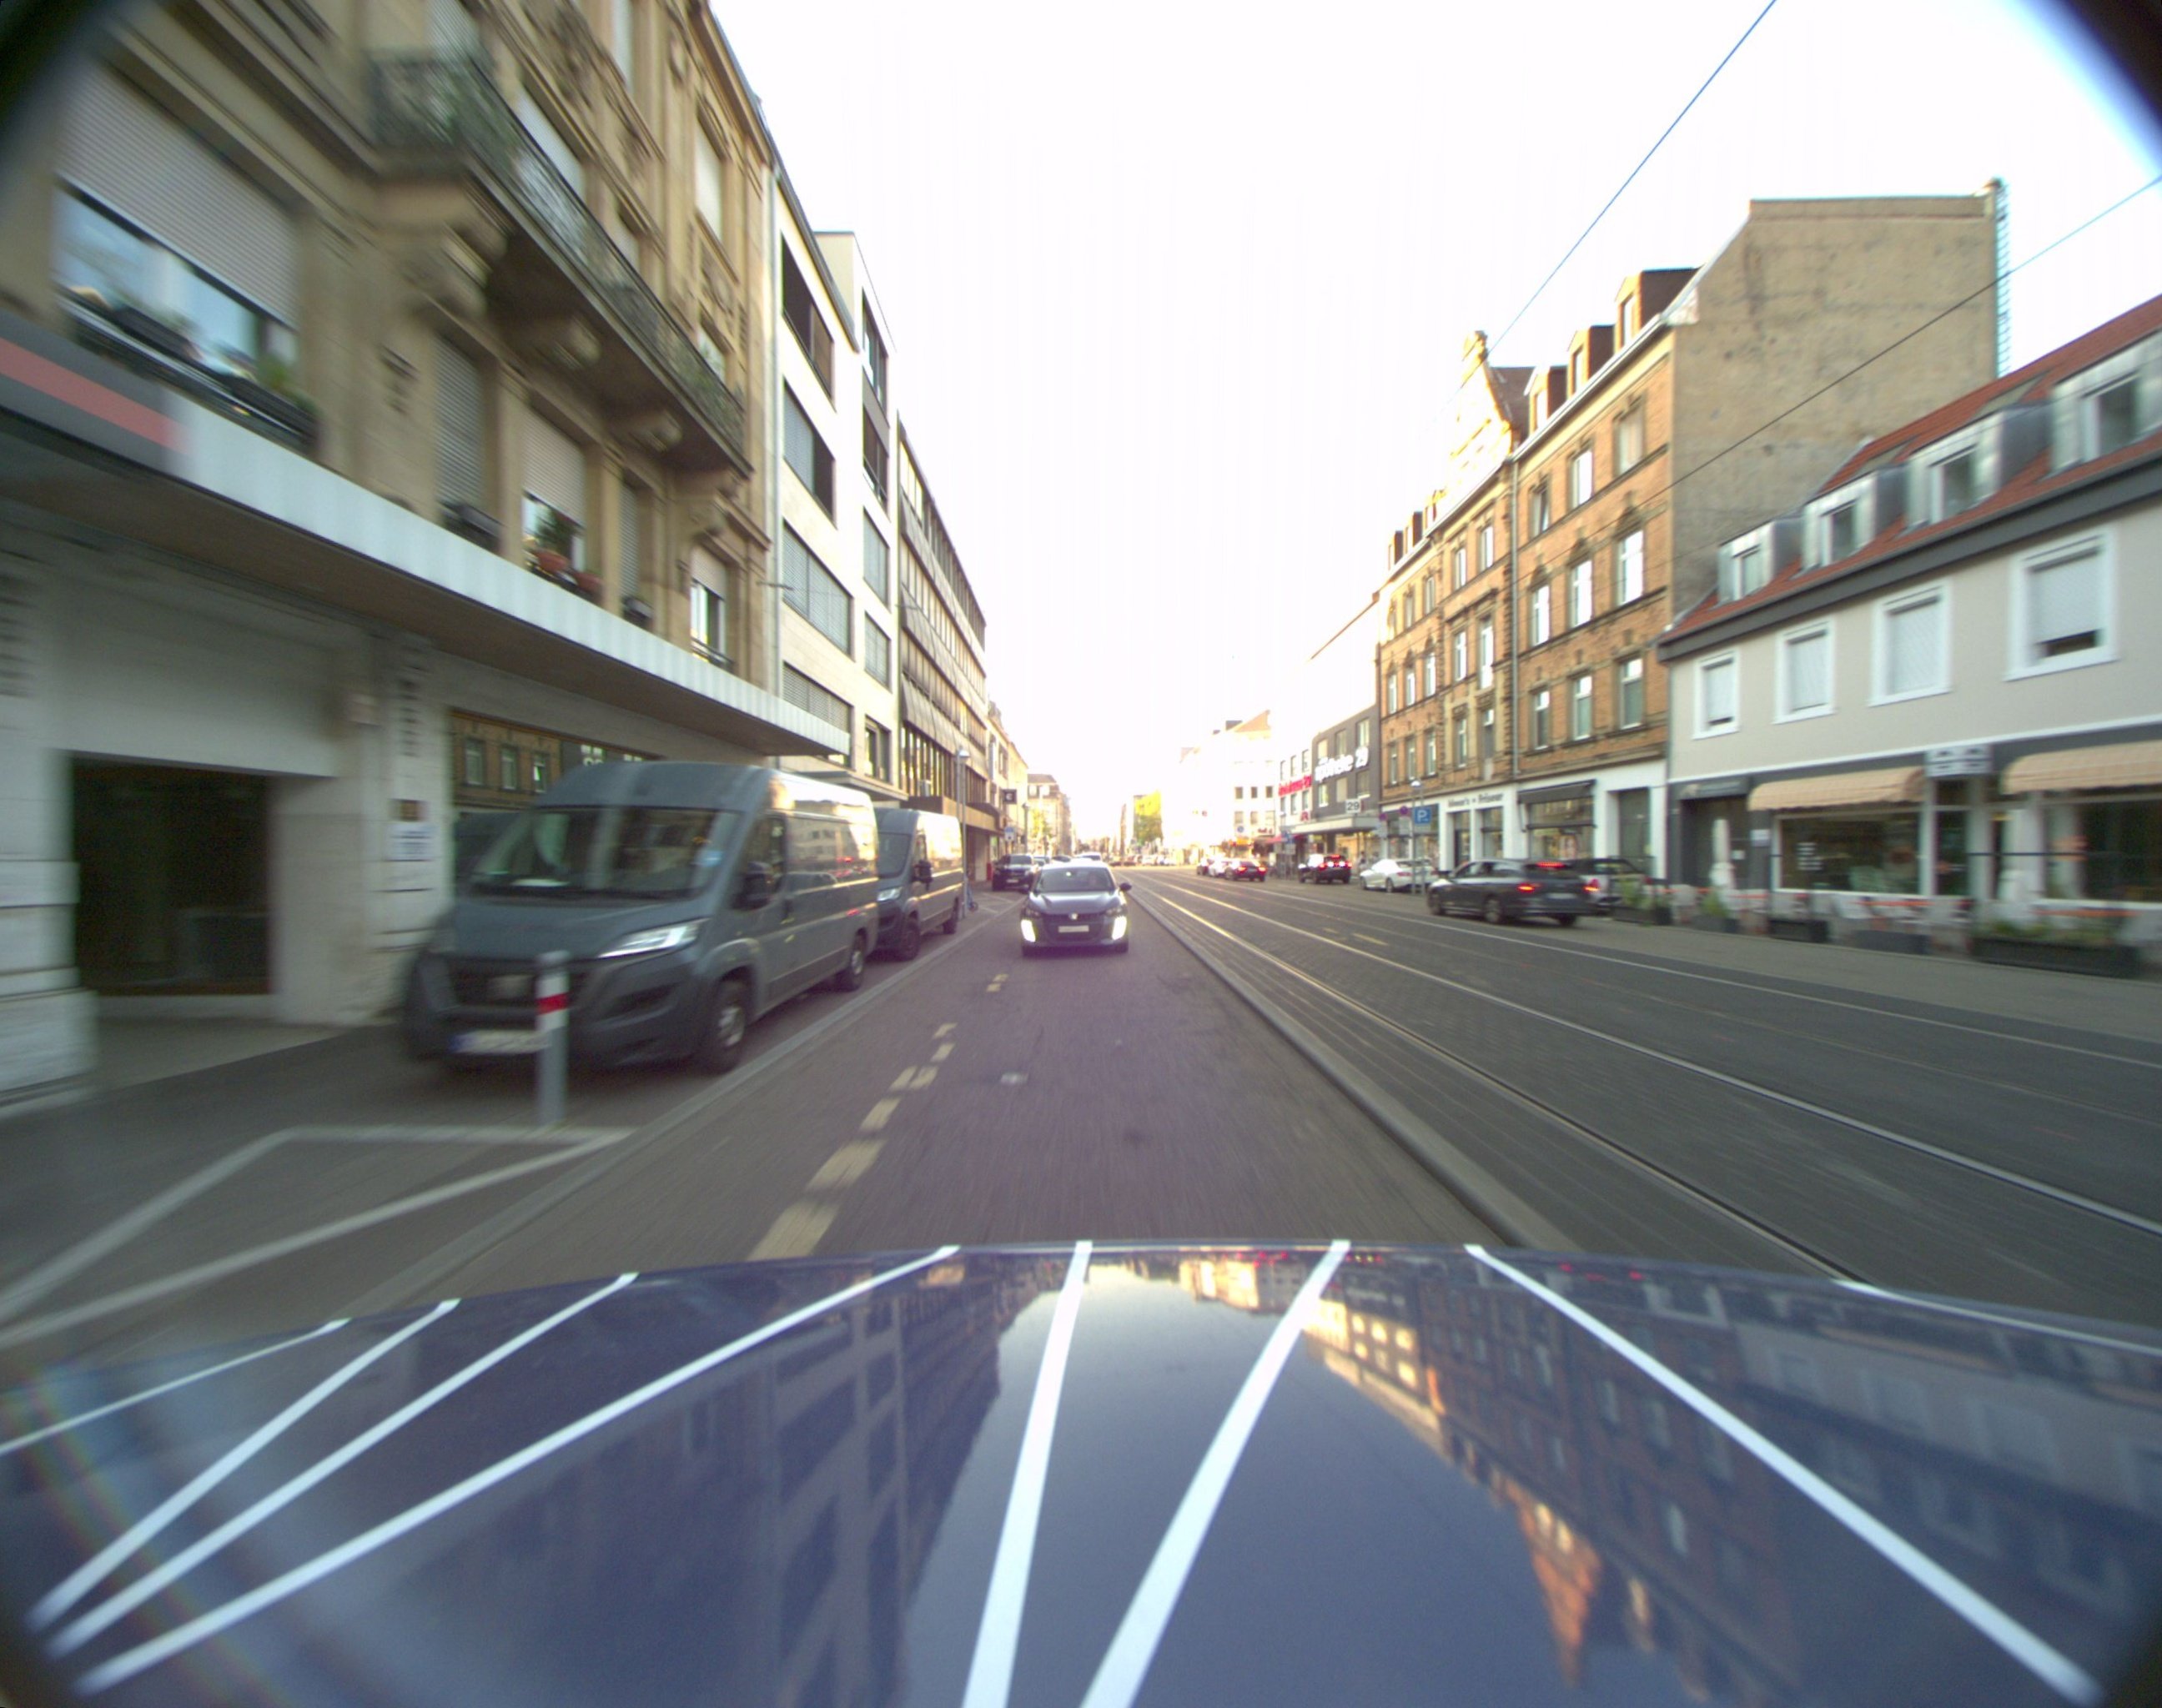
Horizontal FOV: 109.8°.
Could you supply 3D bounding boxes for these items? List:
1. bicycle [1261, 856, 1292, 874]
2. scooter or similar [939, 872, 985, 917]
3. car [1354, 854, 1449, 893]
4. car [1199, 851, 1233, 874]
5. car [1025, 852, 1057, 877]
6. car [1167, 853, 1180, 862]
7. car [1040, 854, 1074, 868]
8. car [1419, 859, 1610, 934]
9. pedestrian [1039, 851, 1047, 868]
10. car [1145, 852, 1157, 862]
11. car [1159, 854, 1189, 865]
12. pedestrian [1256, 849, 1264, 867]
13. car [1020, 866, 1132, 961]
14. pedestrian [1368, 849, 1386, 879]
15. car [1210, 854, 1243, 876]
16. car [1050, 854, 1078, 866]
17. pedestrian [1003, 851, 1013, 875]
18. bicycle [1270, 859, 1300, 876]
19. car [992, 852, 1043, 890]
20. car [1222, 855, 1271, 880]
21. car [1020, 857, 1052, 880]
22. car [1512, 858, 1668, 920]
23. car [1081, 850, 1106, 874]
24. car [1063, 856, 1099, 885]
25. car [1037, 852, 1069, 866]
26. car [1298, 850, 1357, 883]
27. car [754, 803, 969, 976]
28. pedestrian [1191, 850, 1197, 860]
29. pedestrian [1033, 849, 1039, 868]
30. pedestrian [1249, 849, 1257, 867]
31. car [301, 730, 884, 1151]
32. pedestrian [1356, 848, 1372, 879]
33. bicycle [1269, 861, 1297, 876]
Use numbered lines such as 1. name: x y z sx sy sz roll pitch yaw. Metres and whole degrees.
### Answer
1. bicycle: 14.422 0.840 55.981 2.117 1.217 0.553 -3 1 1
2. scooter or similar: -3.342 1.120 21.364 0.498 1.213 1.267 0 1 38
3. car: 13.546 0.782 32.419 1.874 1.444 4.608 -2 1 -3
4. car: 10.613 0.603 60.081 1.998 1.717 4.728 1 0 2
5. car: -2.851 0.733 55.109 1.998 1.717 4.576 1 0 1
6. car: 14.041 0.558 115.351 1.636 1.246 3.389 -3 -1 1
7. car: -2.651 0.769 83.897 1.686 1.463 3.736 -1 0 -44
8. car: 9.600 0.863 17.321 1.696 1.444 4.464 0 0 -2
9. pedestrian: -3.951 0.562 79.323 0.739 1.818 0.850 0 1 -1
10. car: 10.935 0.447 118.147 1.717 1.463 3.987 1 0 7
11. car: 11.636 0.667 95.537 3.490 1.326 1.597 0 0 -8
12. pedestrian: 17.844 0.369 75.599 0.638 1.768 0.600 -1 1 -1
13. car: -0.181 0.978 14.075 1.751 1.434 3.905 -2 -1 -3
14. pedestrian: 16.323 0.535 41.922 0.684 1.651 0.624 -1 0 0
15. car: 10.375 0.765 54.404 1.997 1.444 4.658 1 1 7
16. car: -2.071 0.735 93.486 3.299 1.487 1.540 -1 1 2
17. pedestrian: -5.387 0.672 56.026 0.651 1.708 0.678 2 1 2
18. bicycle: 13.899 0.920 51.753 1.835 1.041 0.489 -3 -1 1
19. car: -2.953 0.770 36.410 1.998 1.717 4.565 0 0 1
20. car: 10.147 0.790 47.037 1.999 1.444 4.648 0 0 0
21. car: -2.852 0.896 48.916 1.800 1.424 3.887 0 0 1
22. car: 13.271 0.870 20.110 1.602 1.431 3.813 -2 -1 1
23. car: 0.996 0.568 58.919 1.827 1.787 4.285 -1 0 2
24. car: 0.044 0.870 42.132 1.827 1.463 3.985 -1 0 2
25. car: -3.275 0.588 88.099 1.771 1.480 3.789 0 1 -40
26. car: 13.477 0.640 41.809 1.935 1.664 4.647 -2 0 3
27. car: -3.562 0.497 13.784 2.098 2.441 6.032 0 0 0
28. pedestrian: 17.122 0.131 115.043 0.544 1.463 0.624 -4 0 -15
29. pedestrian: -4.686 0.485 79.240 0.663 1.916 0.879 0 1 -1
30. pedestrian: 17.075 0.399 75.539 0.638 1.734 0.668 -1 1 -2
31. car: -3.573 0.510 7.168 2.038 2.441 5.408 1 0 -1
32. pedestrian: 15.669 0.535 42.064 0.622 1.689 0.602 -1 0 0
33. bicycle: 13.932 0.994 52.418 1.809 0.907 0.456 -3 -1 1
